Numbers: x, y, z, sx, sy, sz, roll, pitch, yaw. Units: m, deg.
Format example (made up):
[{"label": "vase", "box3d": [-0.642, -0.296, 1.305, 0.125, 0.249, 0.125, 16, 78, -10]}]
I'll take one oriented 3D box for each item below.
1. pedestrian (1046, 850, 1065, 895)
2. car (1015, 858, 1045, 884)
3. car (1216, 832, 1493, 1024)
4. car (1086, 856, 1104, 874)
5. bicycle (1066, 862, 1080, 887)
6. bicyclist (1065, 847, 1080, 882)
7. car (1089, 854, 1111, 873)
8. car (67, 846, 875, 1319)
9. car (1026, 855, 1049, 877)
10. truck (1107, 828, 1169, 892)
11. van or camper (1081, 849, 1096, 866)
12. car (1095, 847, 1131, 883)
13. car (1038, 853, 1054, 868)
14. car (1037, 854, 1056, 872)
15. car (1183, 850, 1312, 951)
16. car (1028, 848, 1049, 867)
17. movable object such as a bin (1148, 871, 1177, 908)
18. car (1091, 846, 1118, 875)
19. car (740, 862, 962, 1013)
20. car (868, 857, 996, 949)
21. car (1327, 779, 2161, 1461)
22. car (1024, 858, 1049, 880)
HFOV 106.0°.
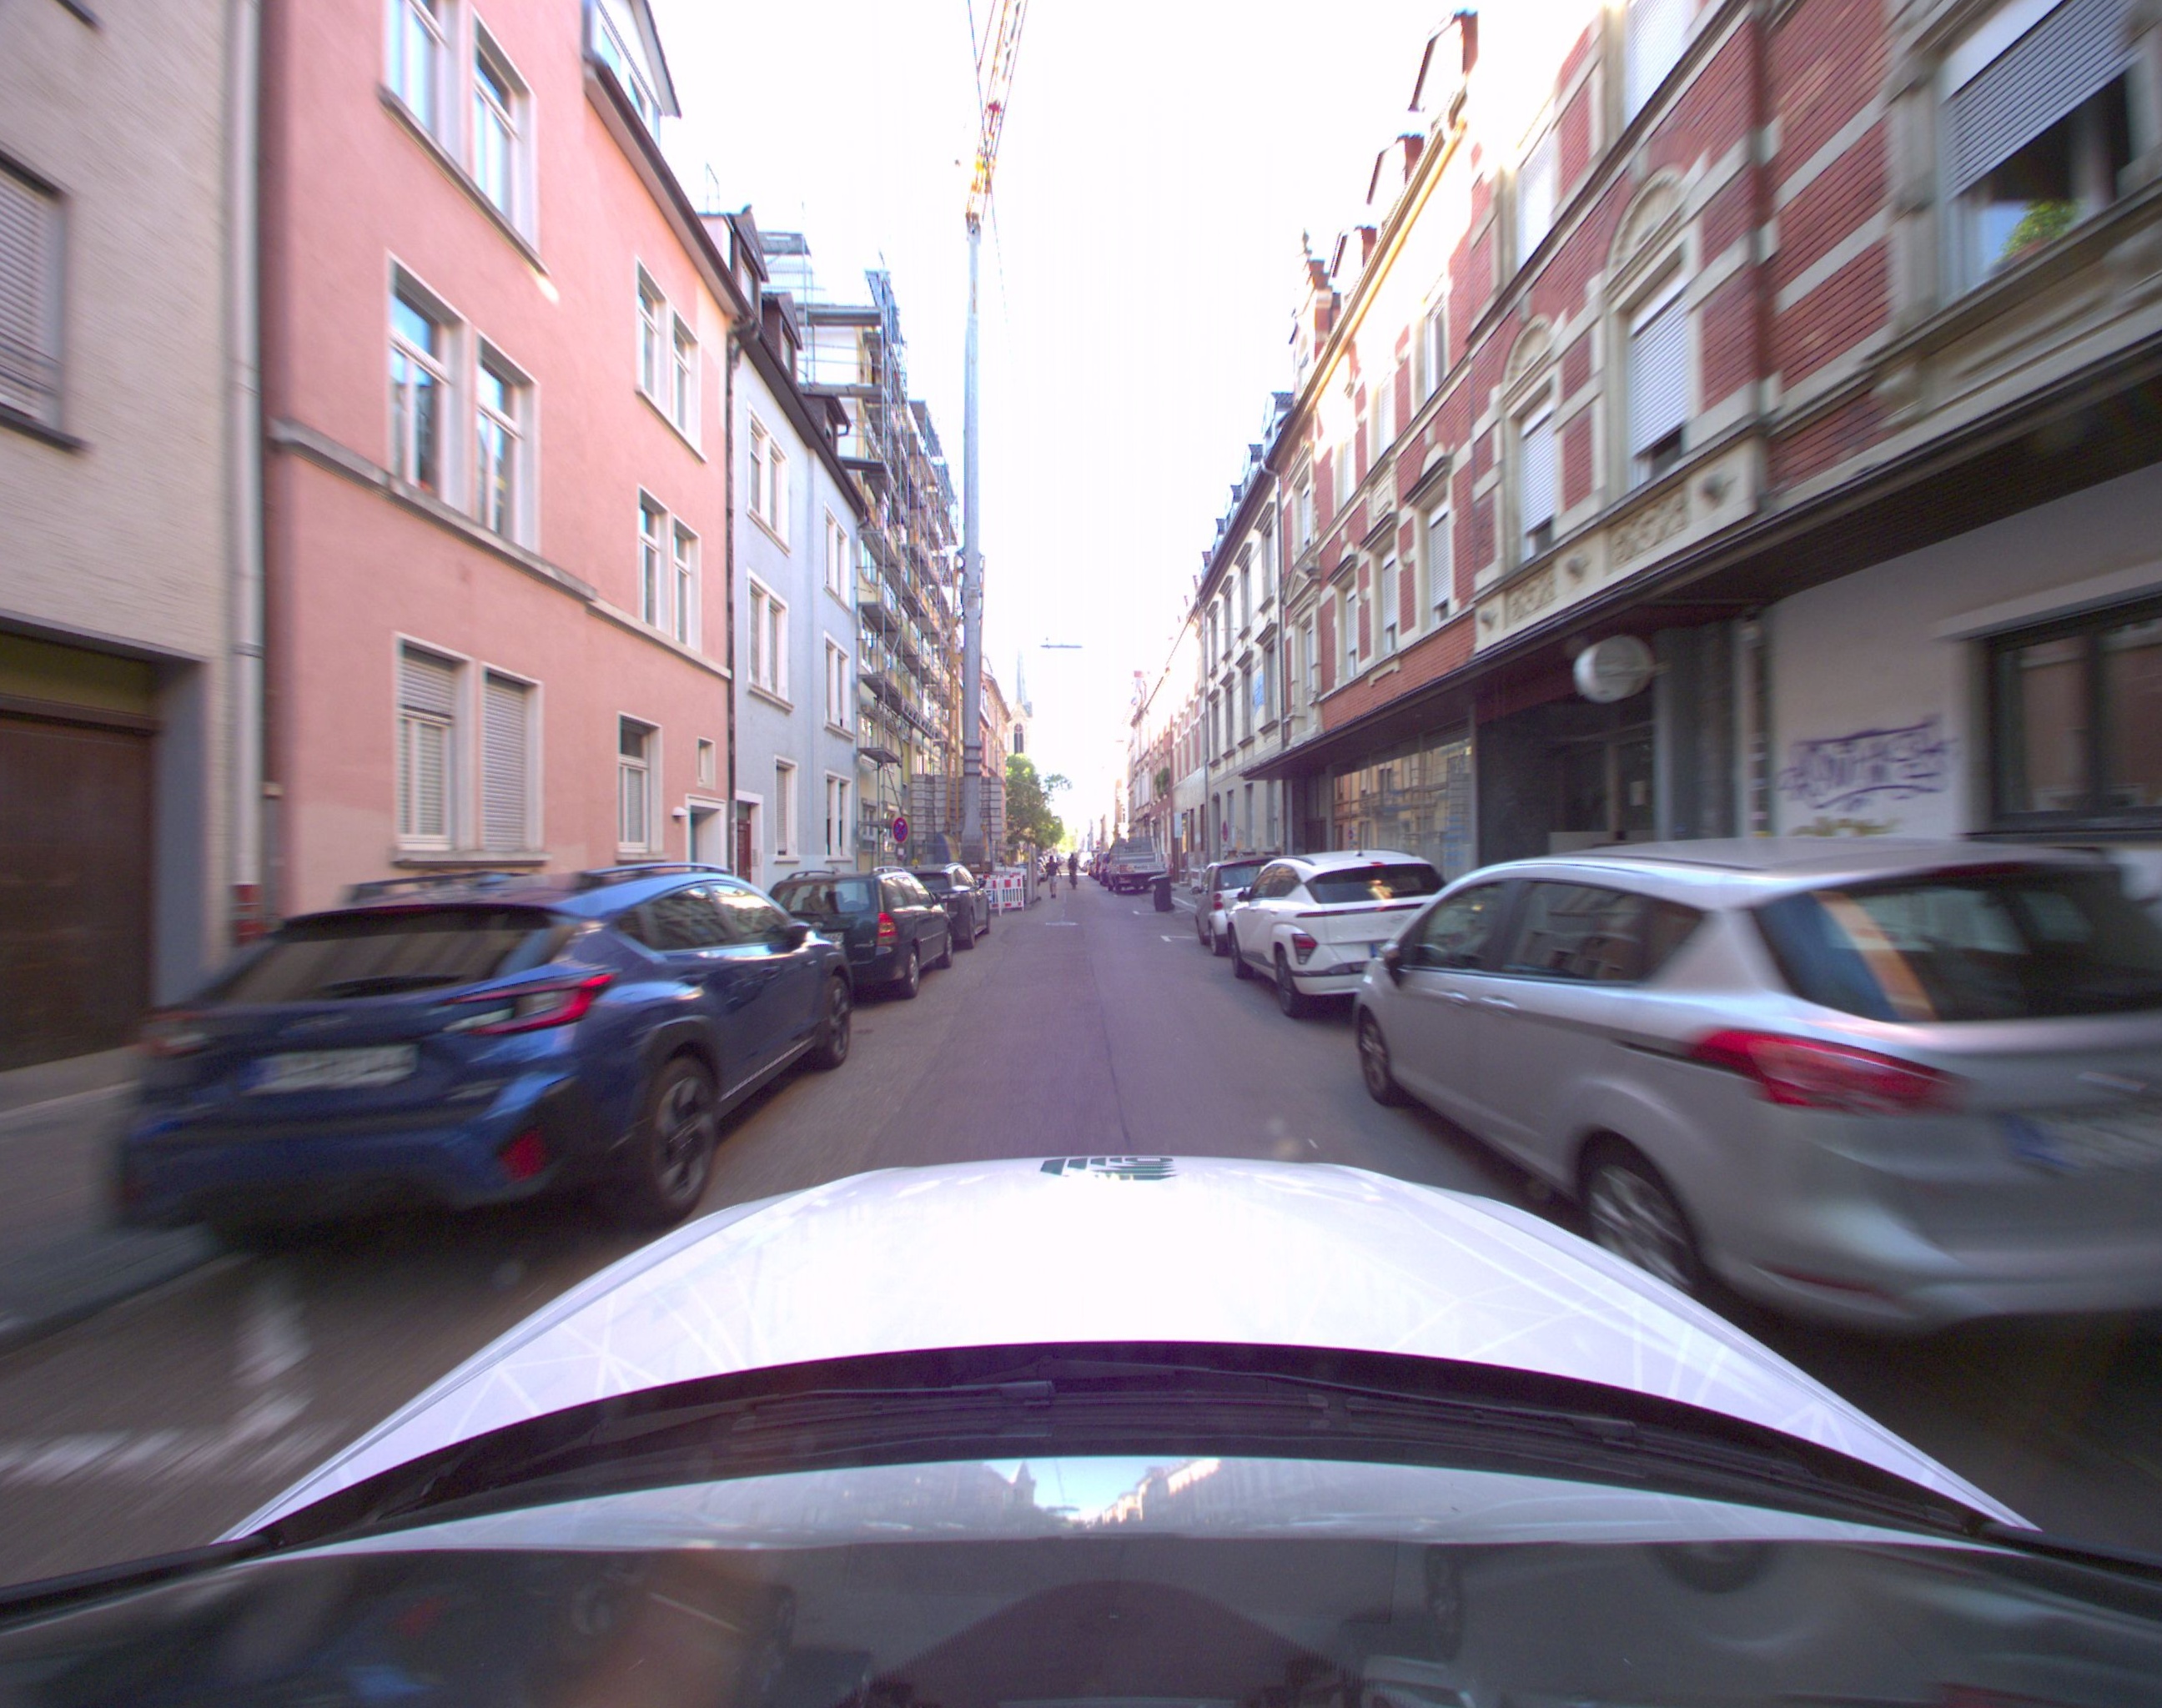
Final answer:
[{"label": "pedestrian", "box3d": [-0.994, 0.710, 31.827, 0.656, 1.732, 0.719, -3, 0, -1]}, {"label": "car", "box3d": [-3.046, 1.009, 48.854, 1.671, 1.445, 3.865, -1, 0, -3]}, {"label": "car", "box3d": [2.806, 0.676, 9.441, 1.741, 1.675, 4.340, -1, 0, 0]}, {"label": "car", "box3d": [1.657, 1.304, 97.729, 1.988, 2.013, 3.997, -1, 0, -2]}, {"label": "bicycle", "box3d": [-0.405, 1.009, 41.144, 0.722, 1.186, 2.042, 0, 1, 0]}, {"label": "bicyclist", "box3d": [-0.414, 0.517, 41.203, 0.728, 1.761, 0.835, 0, 0, -1]}, {"label": "car", "box3d": [1.662, 0.851, 73.300, 1.671, 1.571, 3.865, -1, 0, -3]}, {"label": "car", "box3d": [-2.645, 0.793, 5.004, 1.725, 1.540, 4.374, -2, 0, -2]}, {"label": "car", "box3d": [-3.335, 0.906, 62.553, 1.671, 1.571, 3.865, -1, 0, -3]}, {"label": "truck", "box3d": [2.477, 0.272, 36.848, 2.184, 2.607, 5.230, -2, 0, -2]}, {"label": "van or camper", "box3d": [1.127, 0.545, 126.353, 1.990, 2.508, 4.195, -2, 0, -5]}, {"label": "car", "box3d": [1.822, 0.643, 47.452, 1.671, 1.963, 4.104, -1, -1, -3]}, {"label": "car", "box3d": [-4.341, 0.812, 101.240, 1.988, 1.849, 3.997, -2, 0, -2]}, {"label": "car", "box3d": [-3.122, 0.824, 73.034, 1.671, 1.571, 3.865, -1, 0, -3]}, {"label": "car", "box3d": [2.884, 0.742, 14.832, 1.591, 1.560, 3.814, -1, 0, 1]}, {"label": "car", "box3d": [-3.535, 0.301, 67.837, 1.671, 1.571, 3.865, -1, 0, -3]}, {"label": "movable object such as a bin", "box3d": [2.456, 1.054, 24.497, 0.793, 1.056, 0.660, -1, 0, -1]}, {"label": "car", "box3d": [1.680, 0.500, 59.813, 1.671, 2.031, 3.865, -1, -1, -3]}, {"label": "car", "box3d": [-2.705, 0.882, 10.644, 1.670, 1.512, 4.412, -1, 0, -1]}, {"label": "car", "box3d": [-2.705, 0.834, 15.798, 1.670, 1.477, 4.605, -1, 0, -1]}, {"label": "car", "box3d": [2.596, 0.658, 3.944, 1.635, 1.656, 3.868, -1, -1, 0]}, {"label": "car", "box3d": [-3.126, 1.037, 57.667, 1.671, 1.445, 3.865, -1, 0, -3]}]
